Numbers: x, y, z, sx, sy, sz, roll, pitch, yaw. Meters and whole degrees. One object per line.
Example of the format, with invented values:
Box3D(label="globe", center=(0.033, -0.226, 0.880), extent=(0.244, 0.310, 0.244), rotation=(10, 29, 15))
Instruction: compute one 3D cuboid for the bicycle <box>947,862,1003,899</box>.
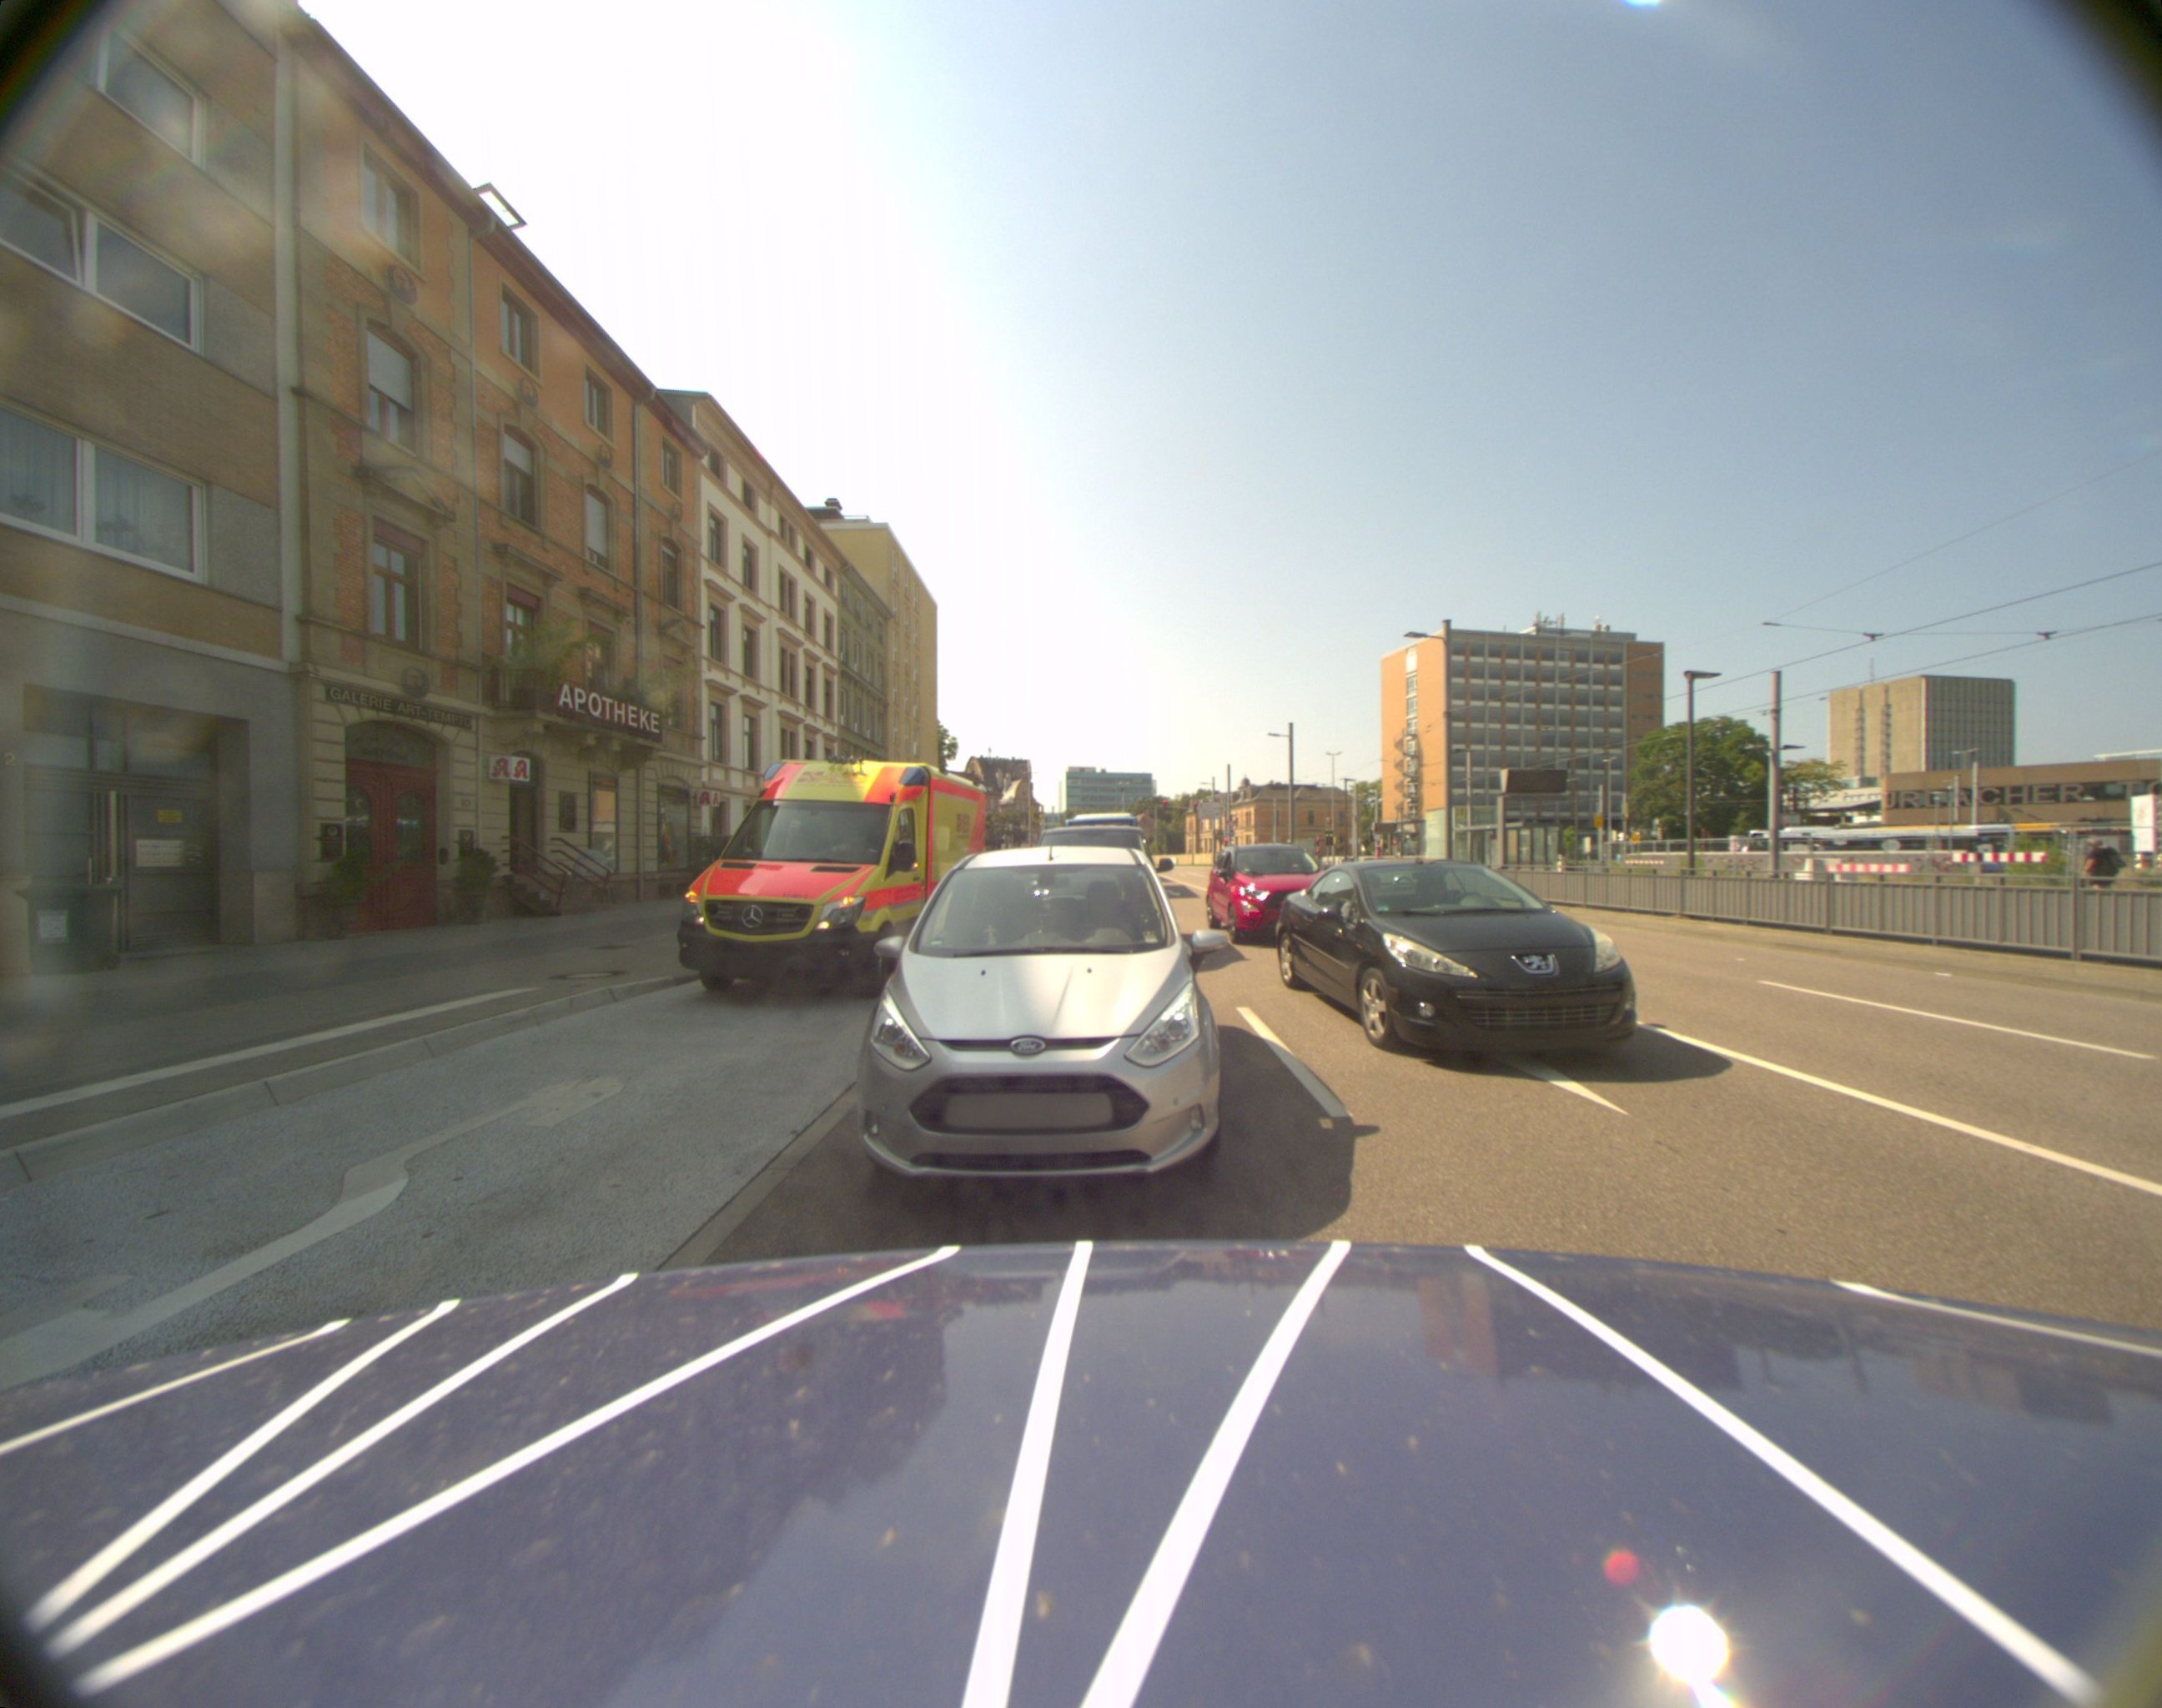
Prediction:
Box3D(label="bicycle", center=(-3.644, 0.920, 26.187), extent=(1.841, 1.212, 0.434), rotation=(-2, 1, 1))

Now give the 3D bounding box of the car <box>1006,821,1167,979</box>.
Box3D(label="car", center=(0.120, 0.576, 12.052), extent=(1.998, 1.953, 4.816), rotation=(-1, 0, 1))

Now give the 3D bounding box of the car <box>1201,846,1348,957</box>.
Box3D(label="car", center=(3.180, 0.700, 13.248), extent=(1.634, 1.611, 3.968), rotation=(-2, 0, 2))

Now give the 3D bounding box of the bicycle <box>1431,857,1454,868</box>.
Box3D(label="bicycle", center=(38.772, 0.935, 81.472), extent=(2.182, 1.095, 0.664), rotation=(-2, 1, 21))

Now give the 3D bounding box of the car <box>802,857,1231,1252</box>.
Box3D(label="car", center=(-0.218, 0.838, 5.125), extent=(1.728, 1.579, 4.000), rotation=(-1, 0, 1))

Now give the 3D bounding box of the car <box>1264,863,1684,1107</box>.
Box3D(label="car", center=(2.898, 0.837, 6.611), extent=(1.692, 1.405, 3.801), rotation=(-2, 0, 1))

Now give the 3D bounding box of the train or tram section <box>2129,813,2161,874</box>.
Box3D(label="train or tram section", center=(70.517, -0.663, 43.391), extent=(2.004, 3.743, 12.331), rotation=(-1, 0, -45))

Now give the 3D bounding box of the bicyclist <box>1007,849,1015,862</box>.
Box3D(label="bicyclist", center=(-8.570, 0.244, 92.947), extent=(0.721, 1.577, 1.103), rotation=(-1, 0, 2))

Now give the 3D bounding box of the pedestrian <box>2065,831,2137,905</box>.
Box3D(label="pedestrian", center=(25.119, 0.331, 18.724), extent=(0.745, 1.777, 0.761), rotation=(0, 1, 1))

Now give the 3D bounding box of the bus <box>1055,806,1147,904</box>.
Box3D(label="bus", center=(1.078, 0.010, 31.270), extent=(2.919, 3.119, 12.347), rotation=(-2, 0, 4))

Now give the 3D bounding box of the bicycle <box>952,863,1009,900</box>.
Box3D(label="bicycle", center=(-3.411, 0.922, 25.762), extent=(1.841, 1.196, 0.434), rotation=(-2, 1, 1))

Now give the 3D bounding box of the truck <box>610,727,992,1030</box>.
Box3D(label="truck", center=(-3.011, 0.200, 10.245), extent=(2.333, 2.754, 6.340), rotation=(2, 1, 4))

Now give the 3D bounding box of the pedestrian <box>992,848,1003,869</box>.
Box3D(label="pedestrian", center=(-6.345, 0.329, 58.006), extent=(0.645, 1.619, 0.797), rotation=(1, 1, 9))

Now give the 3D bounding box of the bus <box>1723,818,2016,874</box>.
Box3D(label="bus", center=(52.337, -0.421, 51.327), extent=(3.357, 3.275, 13.371), rotation=(-3, 0, -45))

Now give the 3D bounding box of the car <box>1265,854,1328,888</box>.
Box3D(label="car", center=(9.720, 0.718, 34.595), extent=(1.750, 1.427, 4.573), rotation=(1, 1, 2))

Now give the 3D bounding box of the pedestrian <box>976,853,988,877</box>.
Box3D(label="pedestrian", center=(-7.445, 0.821, 57.217), extent=(0.688, 1.748, 0.797), rotation=(1, 1, 6))

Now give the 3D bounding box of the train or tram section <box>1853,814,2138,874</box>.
Box3D(label="train or tram section", center=(61.814, -0.600, 52.126), extent=(2.004, 3.743, 12.331), rotation=(-1, 0, -45))

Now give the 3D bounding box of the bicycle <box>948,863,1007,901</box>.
Box3D(label="bicycle", center=(-3.438, 0.925, 25.325), extent=(1.841, 1.196, 0.434), rotation=(-2, 1, 1))

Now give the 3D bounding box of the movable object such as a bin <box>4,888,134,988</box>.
Box3D(label="movable object such as a bin", center=(-11.983, 0.967, 9.027), extent=(0.648, 1.098, 0.727), rotation=(1, 0, -24))
